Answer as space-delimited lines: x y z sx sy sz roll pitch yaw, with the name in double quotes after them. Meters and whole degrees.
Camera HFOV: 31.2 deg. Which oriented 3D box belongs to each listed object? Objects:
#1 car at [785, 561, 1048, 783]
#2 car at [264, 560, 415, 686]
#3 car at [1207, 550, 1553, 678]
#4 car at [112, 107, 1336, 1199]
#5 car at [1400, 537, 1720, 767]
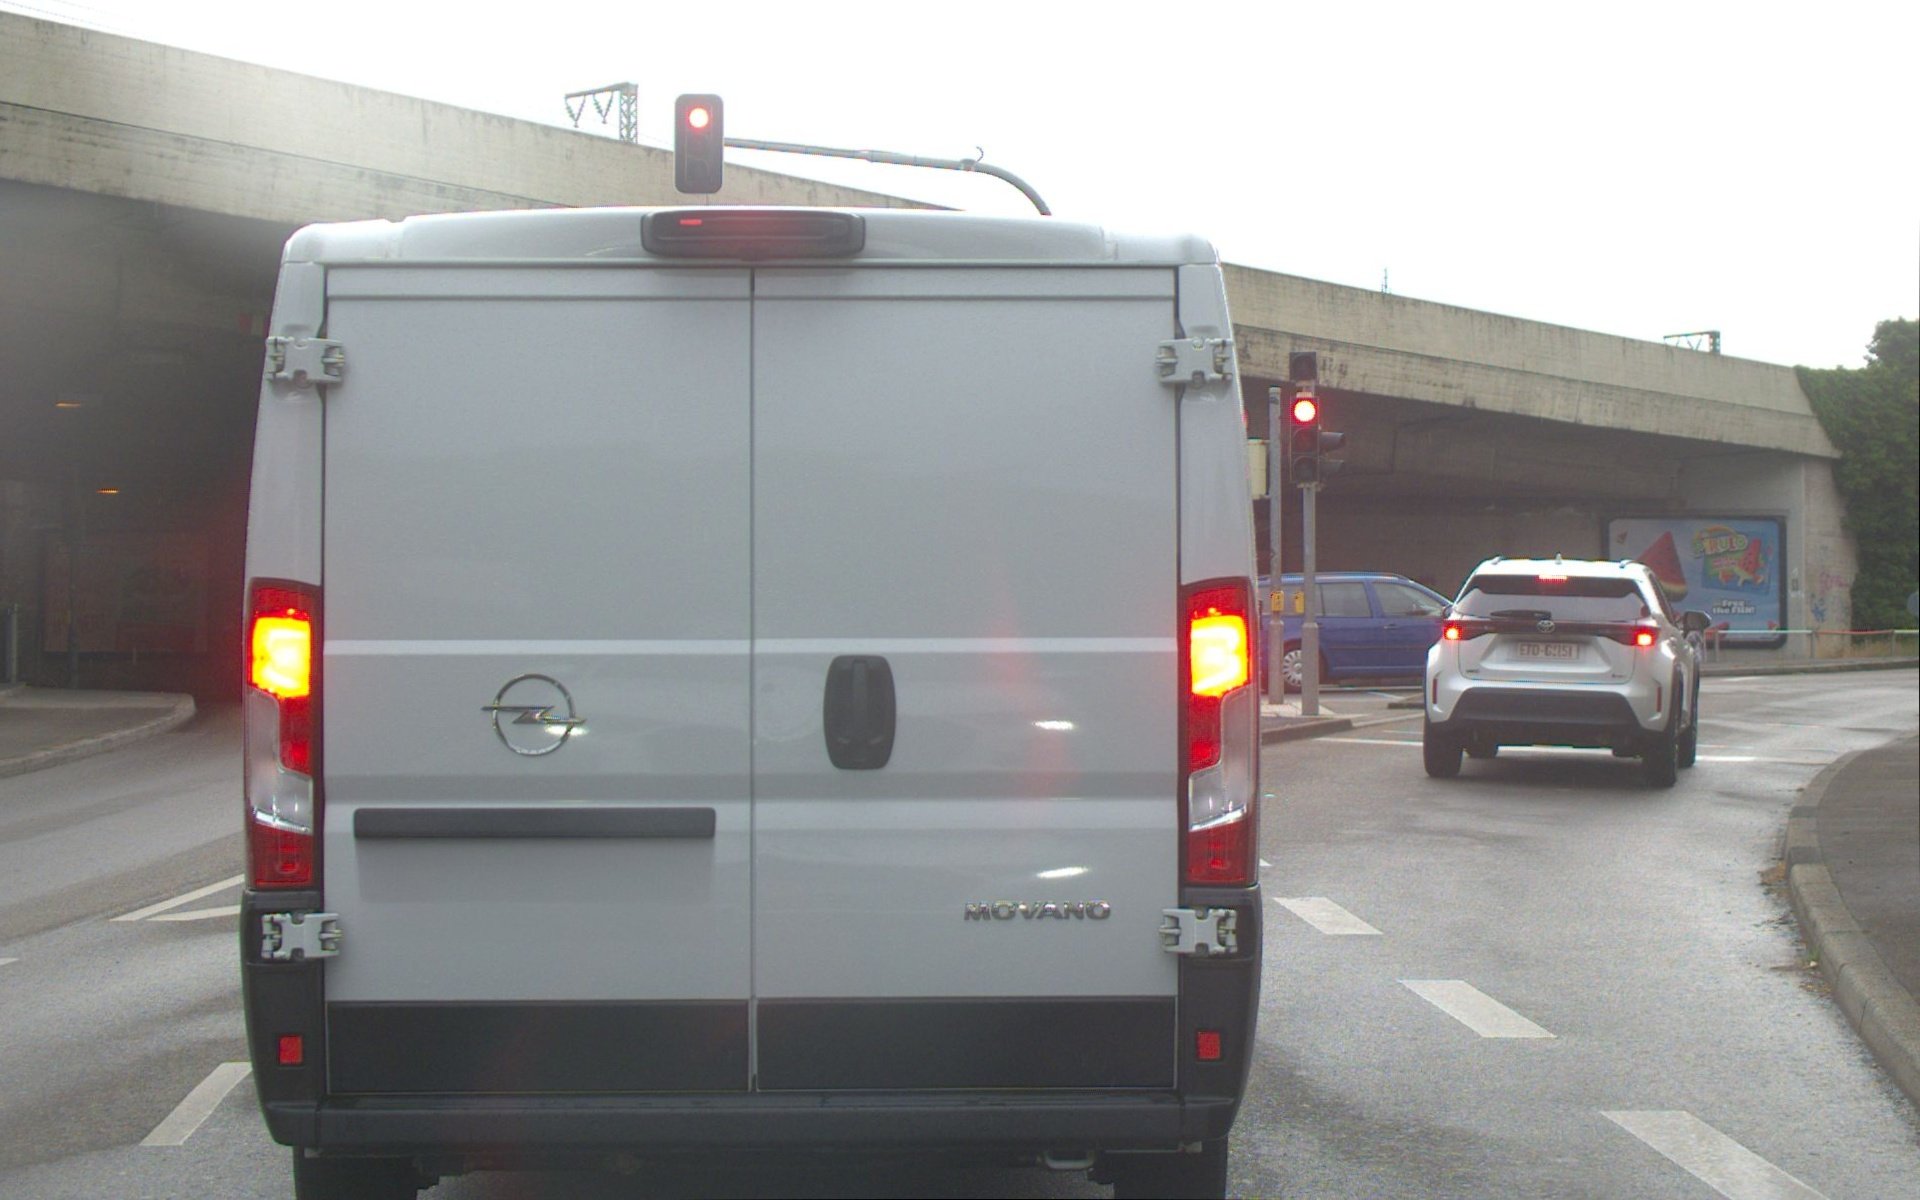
-0.287 0.583 28.782 1.994 1.723 3.999 0 -1 2 "car"
-8.365 0.283 46.602 1.914 1.621 4.435 0 0 -9 "car"
5.094 0.176 42.109 3.987 1.513 2.000 0 -1 0 "car"
-0.442 0.268 9.188 2.305 2.335 5.282 1 -1 0 "car"
4.491 0.375 25.277 1.995 1.544 3.997 0 -1 15 "car"
